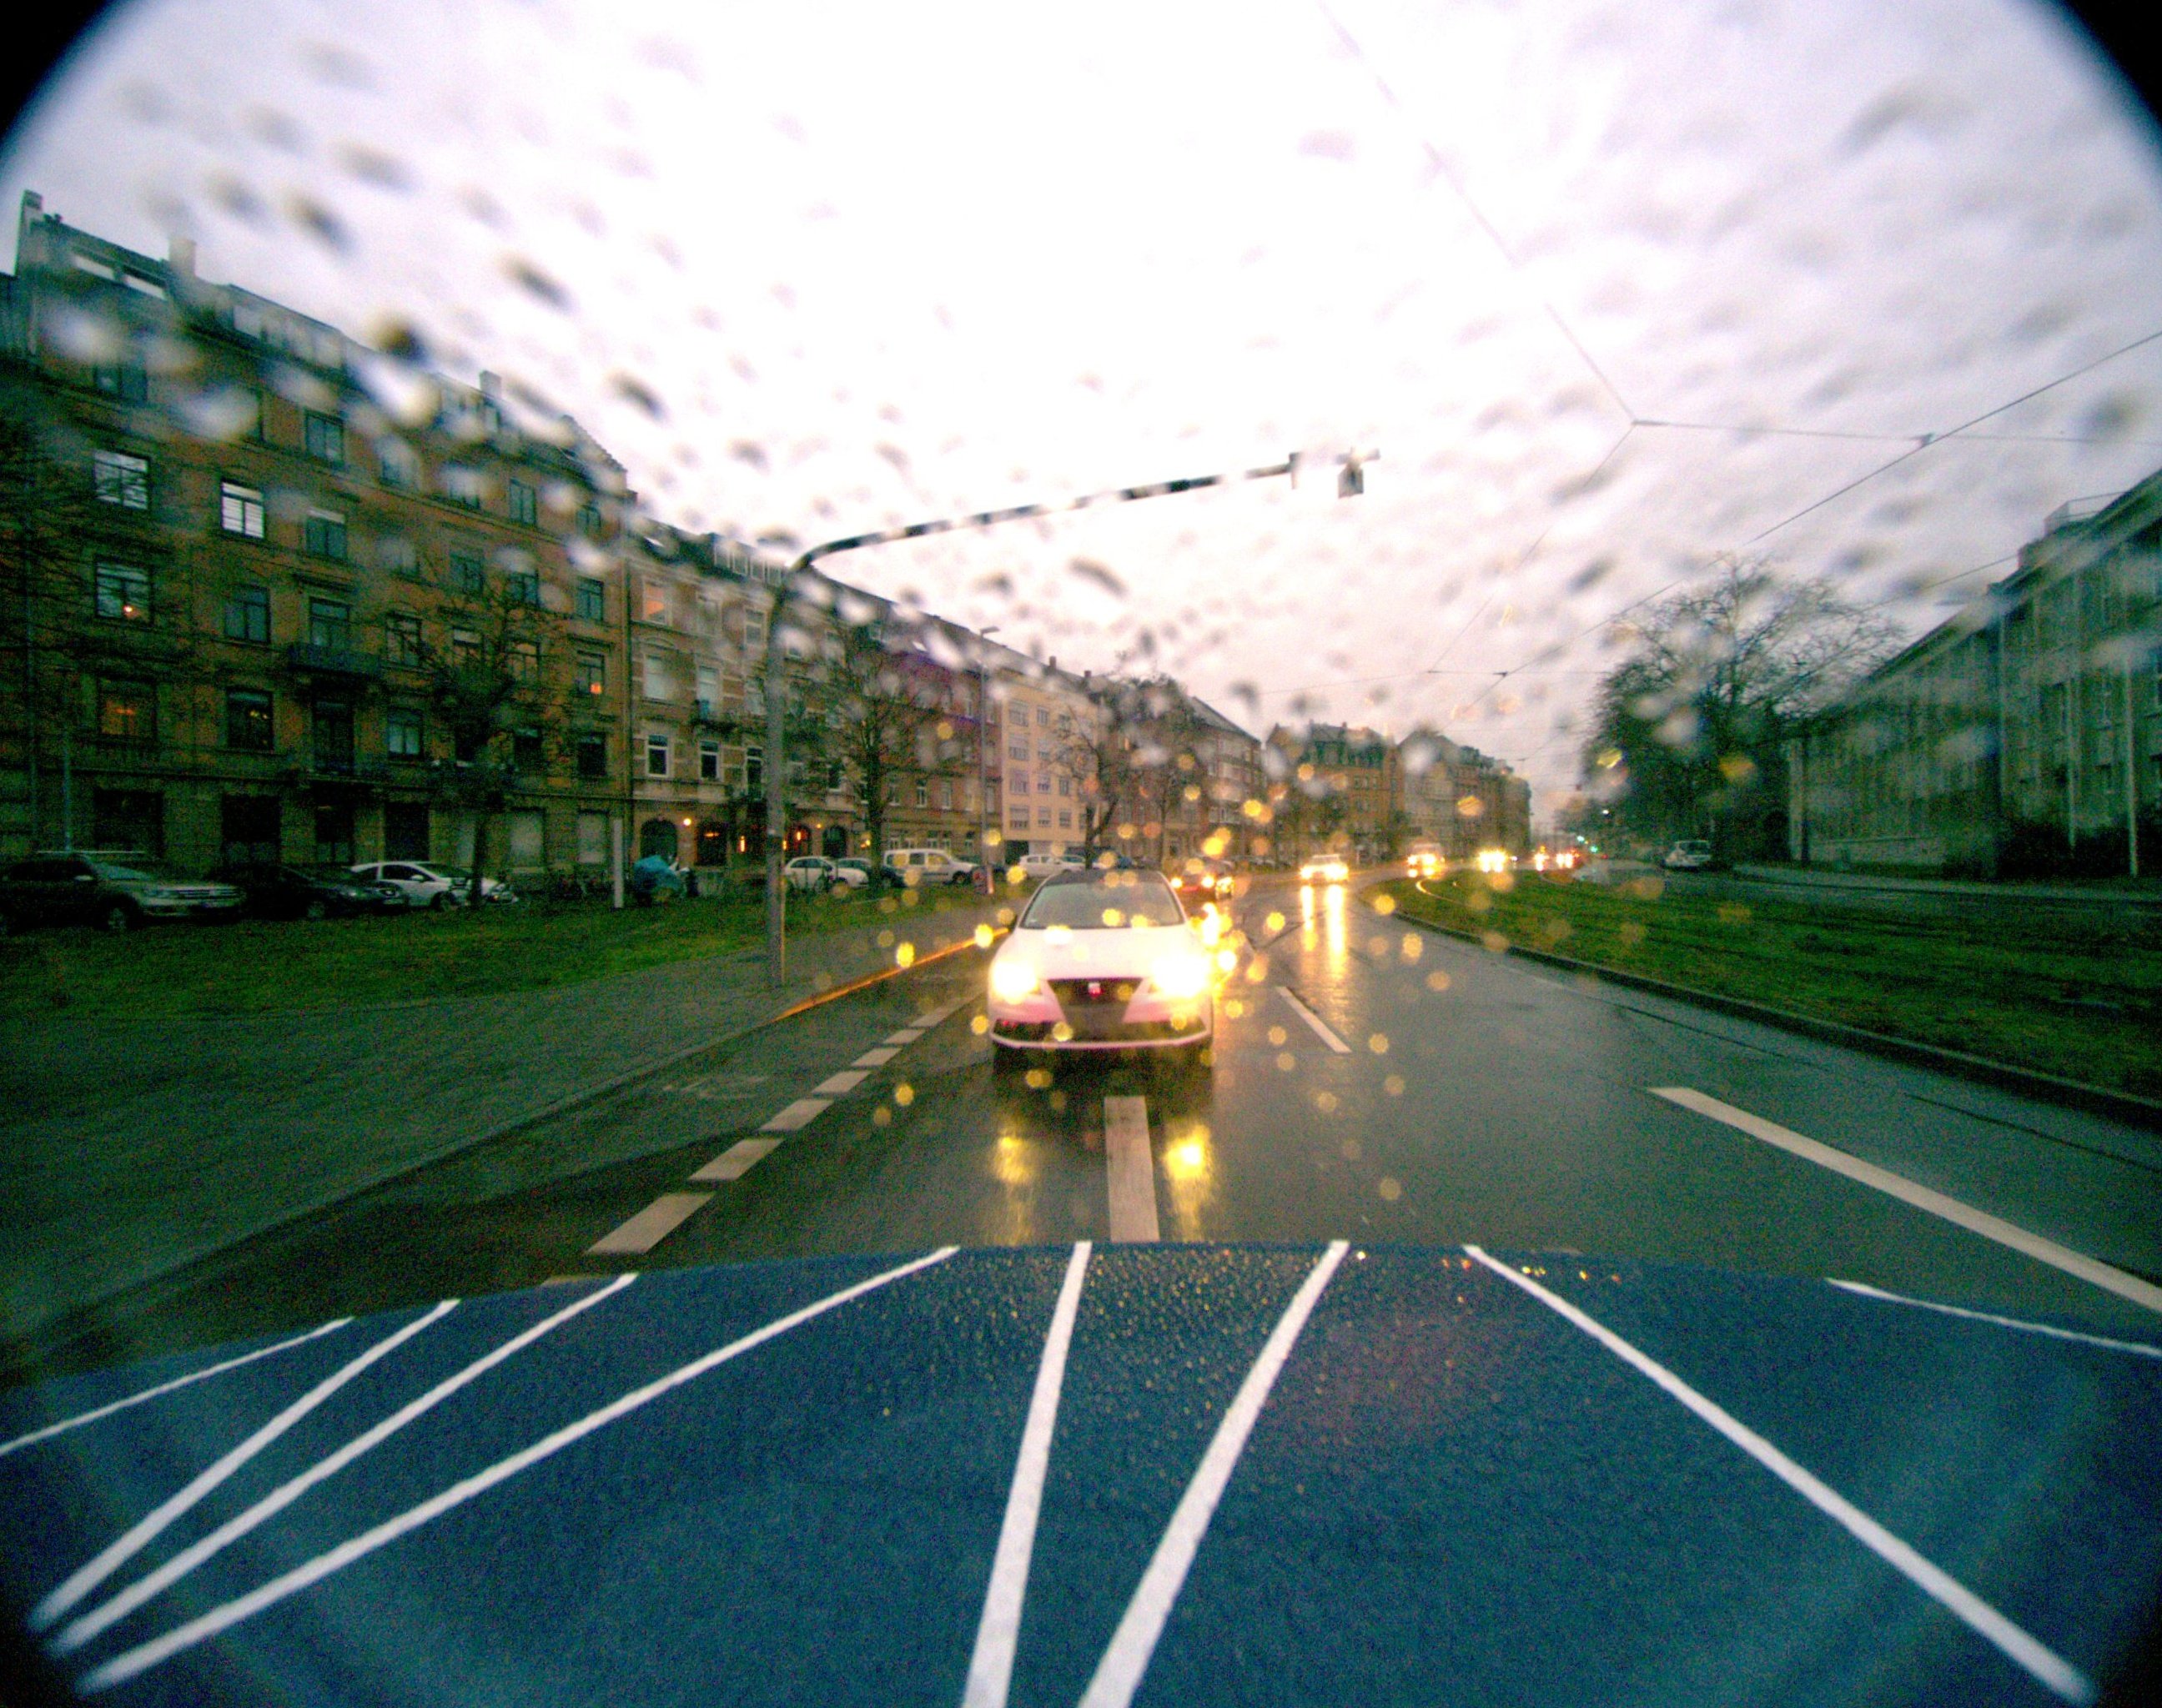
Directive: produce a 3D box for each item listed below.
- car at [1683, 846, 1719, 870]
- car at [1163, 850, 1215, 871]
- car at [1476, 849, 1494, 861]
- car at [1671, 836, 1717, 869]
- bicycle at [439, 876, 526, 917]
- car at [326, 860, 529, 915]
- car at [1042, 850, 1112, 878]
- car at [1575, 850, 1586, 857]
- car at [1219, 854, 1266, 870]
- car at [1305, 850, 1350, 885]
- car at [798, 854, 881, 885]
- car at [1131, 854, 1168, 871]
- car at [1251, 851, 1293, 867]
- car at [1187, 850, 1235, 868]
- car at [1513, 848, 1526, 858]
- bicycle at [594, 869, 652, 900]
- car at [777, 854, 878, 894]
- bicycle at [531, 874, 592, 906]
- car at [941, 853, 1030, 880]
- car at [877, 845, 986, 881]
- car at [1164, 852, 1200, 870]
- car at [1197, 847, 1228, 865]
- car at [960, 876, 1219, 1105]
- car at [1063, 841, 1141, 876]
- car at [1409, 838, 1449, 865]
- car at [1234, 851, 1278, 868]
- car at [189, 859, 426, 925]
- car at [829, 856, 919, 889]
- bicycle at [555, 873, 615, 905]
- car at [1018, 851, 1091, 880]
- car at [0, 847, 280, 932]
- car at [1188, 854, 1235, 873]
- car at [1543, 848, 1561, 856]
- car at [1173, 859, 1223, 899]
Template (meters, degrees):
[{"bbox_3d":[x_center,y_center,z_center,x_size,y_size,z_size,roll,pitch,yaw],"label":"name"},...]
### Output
[{"bbox_3d":[39.013,0.231,47.835,1.557,1.420,2.960,-1,1,36],"label":"car"},{"bbox_3d":[8.371,0.515,59.004,3.870,1.397,1.695,-3,0,6],"label":"car"},{"bbox_3d":[60.298,0.111,113.345,1.646,1.740,3.562,0,1,42],"label":"car"},{"bbox_3d":[41.538,-0.118,51.558,1.995,2.002,4.518,-3,0,34],"label":"car"},{"bbox_3d":[-14.581,1.017,18.559,1.655,0.931,0.513,0,0,-35],"label":"bicycle"},{"bbox_3d":[-17.241,0.864,20.179,3.856,1.329,1.698,-1,0,-1],"label":"car"},{"bbox_3d":[-0.252,0.589,44.907,3.998,1.406,1.641,-3,0,-2],"label":"car"},{"bbox_3d":[130.059,-0.139,197.823,1.948,1.804,4.008,-1,0,42],"label":"car"},{"bbox_3d":[13.792,0.699,64.890,3.762,1.271,1.602,-1,0,5],"label":"car"},{"bbox_3d":[13.244,0.671,40.640,1.671,1.650,4.155,-3,0,26],"label":"car"},{"bbox_3d":[-12.994,0.830,41.072,1.733,1.492,4.058,-3,-1,32],"label":"car"},{"bbox_3d":[6.285,0.757,69.576,1.470,1.534,3.880,0,0,37],"label":"car"},{"bbox_3d":[17.985,0.468,71.626,3.761,1.346,1.603,-3,0,11],"label":"car"},{"bbox_3d":[10.507,0.406,61.486,3.760,1.325,1.603,-1,1,11],"label":"car"},{"bbox_3d":[73.411,-0.148,127.094,1.719,1.608,3.946,-1,0,32],"label":"car"},{"bbox_3d":[-15.313,1.009,25.398,2.165,0.960,0.627,0,1,28],"label":"bicycle"},{"bbox_3d":[-10.209,0.780,30.707,3.462,1.434,1.615,-2,0,6],"label":"car"},{"bbox_3d":[-16.315,1.126,23.837,2.165,0.960,0.627,-2,-2,28],"label":"bicycle"},{"bbox_3d":[-4.725,0.626,37.829,4.058,1.227,1.771,1,-1,5],"label":"car"},{"bbox_3d":[-6.934,0.420,35.550,4.659,1.583,1.778,1,1,3],"label":"car"},{"bbox_3d":[9.998,0.695,74.774,1.690,1.534,4.008,-3,0,37],"label":"car"},{"bbox_3d":[13.771,0.222,79.504,1.670,1.693,3.472,-3,0,39],"label":"car"},{"bbox_3d":[0.237,1.003,7.047,1.714,1.404,3.681,-3,0,6],"label":"car"},{"bbox_3d":[1.289,0.303,47.633,4.720,1.971,1.799,-2,0,-2],"label":"car"},{"bbox_3d":[33.309,-0.275,72.690,2.125,2.366,5.649,-3,0,38],"label":"car"},{"bbox_3d":[15.665,0.507,68.310,3.761,1.346,1.603,-3,0,11],"label":"car"},{"bbox_3d":[-18.054,0.868,17.868,3.742,1.346,1.677,-2,-1,-2],"label":"car"},{"bbox_3d":[-9.020,0.804,33.231,3.430,1.343,1.664,-2,0,2],"label":"car"},{"bbox_3d":[-15.931,1.130,24.393,2.165,0.960,0.627,-2,-2,28],"label":"bicycle"},{"bbox_3d":[-1.453,0.624,42.750,3.770,1.424,1.762,-3,0,8],"label":"car"},{"bbox_3d":[-19.598,0.672,15.770,3.996,1.627,1.944,0,1,3],"label":"car"},{"bbox_3d":[10.851,0.781,63.169,3.761,1.324,1.603,-3,0,11],"label":"car"},{"bbox_3d":[81.899,-0.351,132.121,1.892,1.405,3.955,-1,0,42],"label":"car"},{"bbox_3d":[4.419,0.928,29.097,1.589,1.418,3.134,-1,0,4],"label":"car"}]
